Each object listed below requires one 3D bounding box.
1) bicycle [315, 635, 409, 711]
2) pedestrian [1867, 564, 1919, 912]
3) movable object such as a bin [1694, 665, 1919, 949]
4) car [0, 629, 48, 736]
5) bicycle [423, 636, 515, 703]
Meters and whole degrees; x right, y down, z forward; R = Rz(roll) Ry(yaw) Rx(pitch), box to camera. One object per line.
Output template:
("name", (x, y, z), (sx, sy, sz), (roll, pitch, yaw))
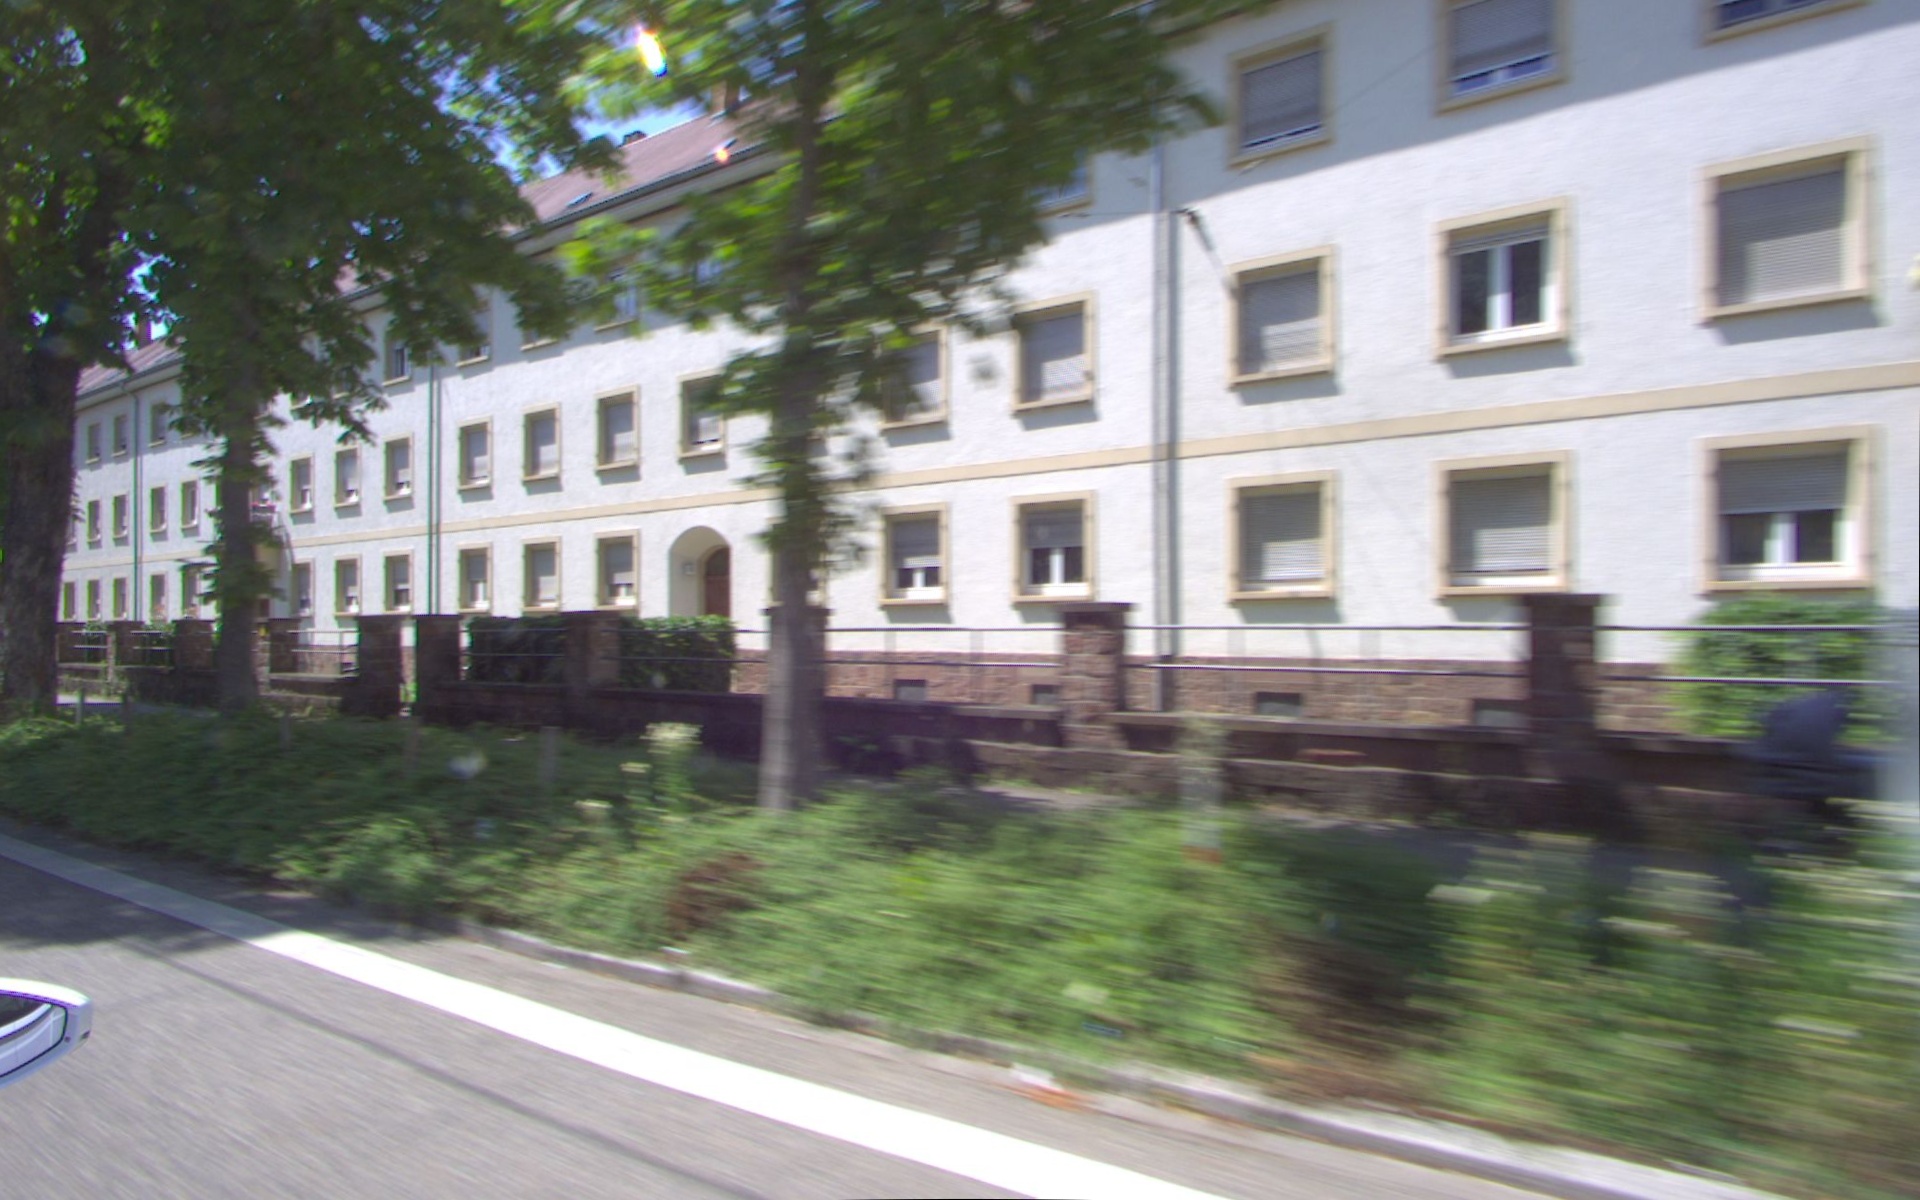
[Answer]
("bicycle", (-10.366, 1.231, 17.333), (1.942, 1.226, 0.595), (-1, 1, 33))
("pedestrian", (5.105, 0.663, 4.990), (0.745, 1.692, 0.696), (-1, 1, 32))
("movable object such as a bin", (4.225, 0.946, 4.849), (1.021, 1.202, 0.696), (-1, 1, 32))
("car", (-15.667, 1.202, 15.157), (3.941, 1.534, 1.655), (-1, -2, 31))
("bicycle", (-8.975, 1.240, 18.289), (1.943, 1.141, 0.595), (-1, 2, 35))
